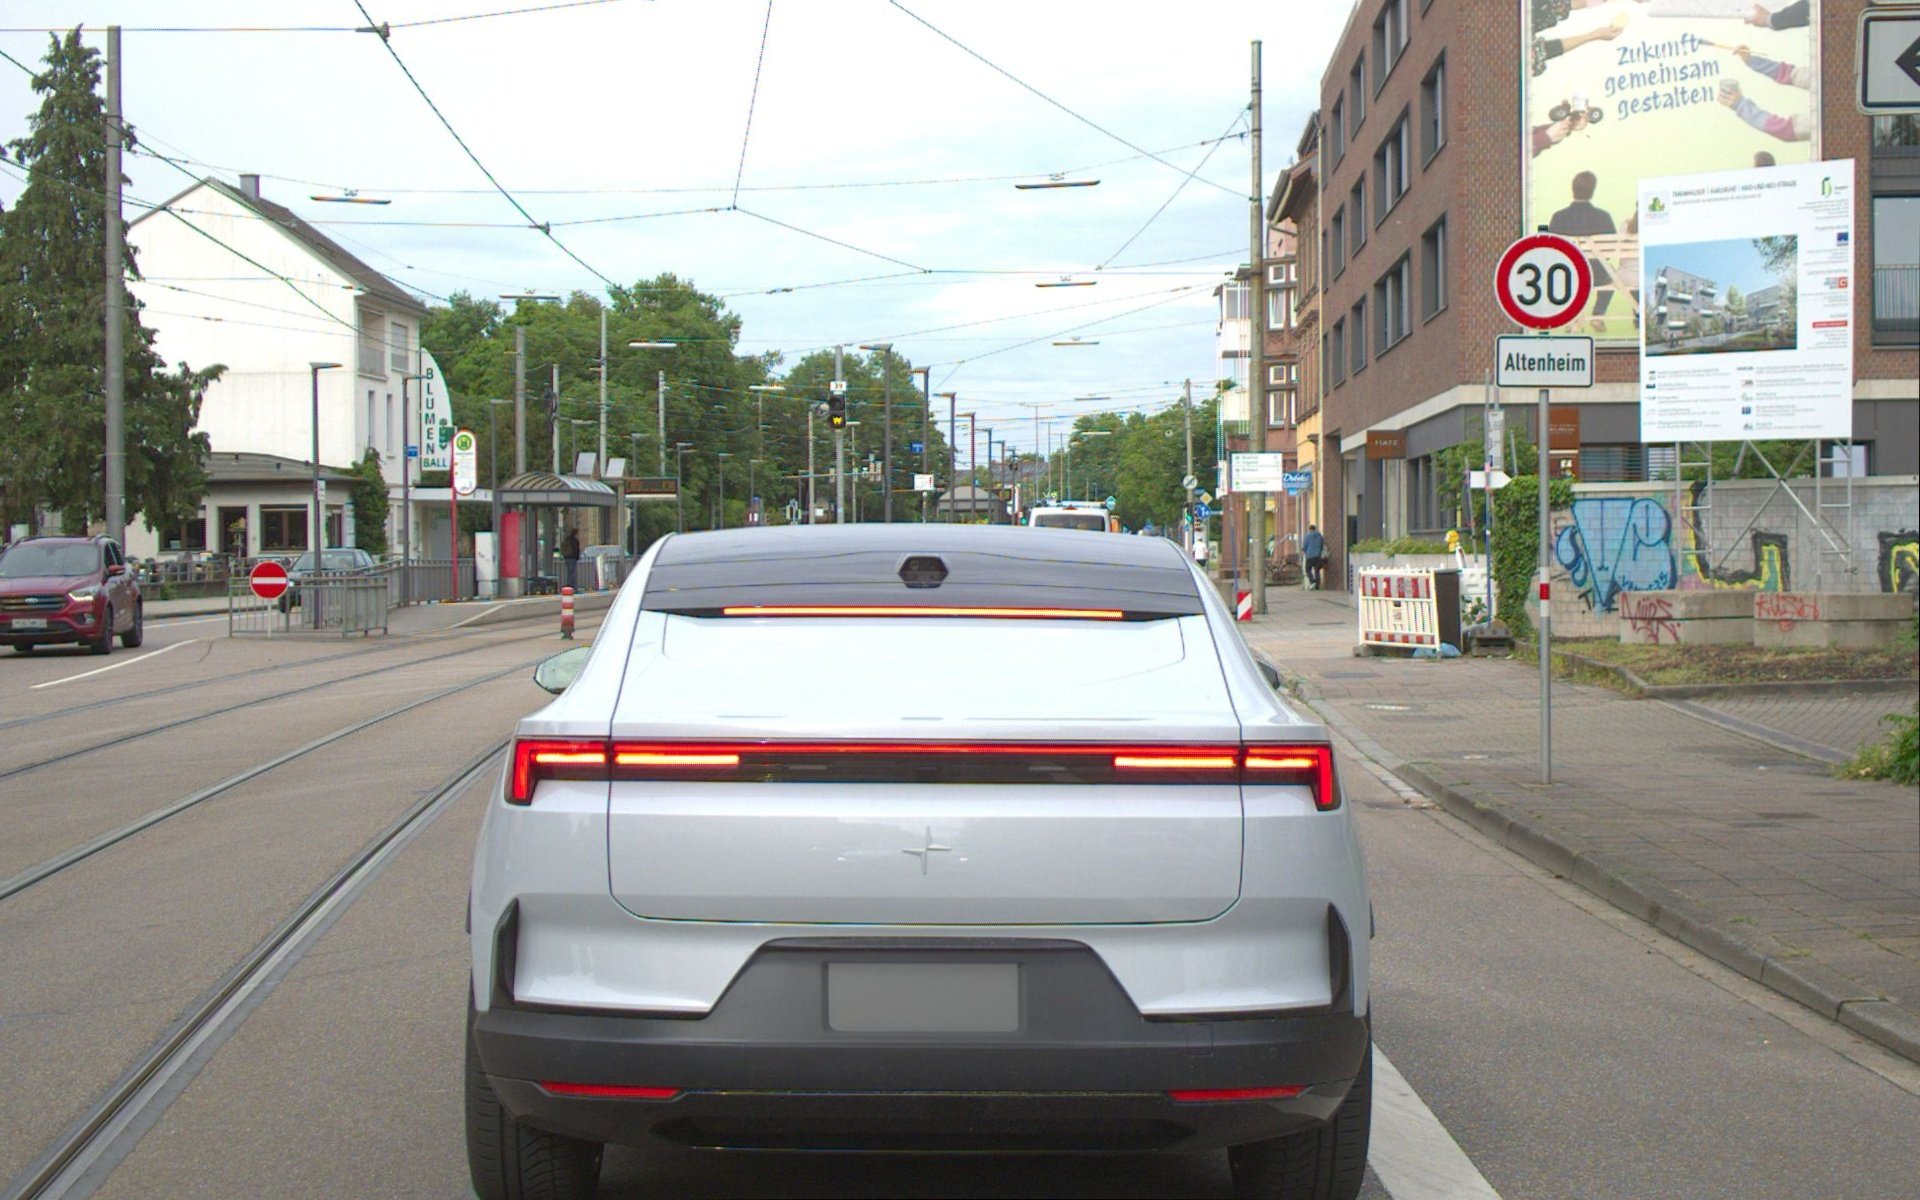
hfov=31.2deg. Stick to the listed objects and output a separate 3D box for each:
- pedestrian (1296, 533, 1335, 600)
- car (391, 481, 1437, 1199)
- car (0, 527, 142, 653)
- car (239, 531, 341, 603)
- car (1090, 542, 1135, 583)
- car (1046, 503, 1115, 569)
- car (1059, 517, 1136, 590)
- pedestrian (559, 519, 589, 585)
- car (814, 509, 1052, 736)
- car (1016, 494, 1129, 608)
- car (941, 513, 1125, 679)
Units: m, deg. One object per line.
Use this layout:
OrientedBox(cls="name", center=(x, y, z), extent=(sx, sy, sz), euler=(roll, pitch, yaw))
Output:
OrientedBox(cls="pedestrian", center=(10.057, -0.958, 97.185), extent=(0.961, 1.843, 0.975), euler=(-2, 2, 9))
OrientedBox(cls="car", center=(-0.147, 0.554, 8.632), extent=(1.999, 1.575, 4.000), euler=(1, 0, -2))
OrientedBox(cls="car", center=(-12.863, -0.163, 49.129), extent=(1.842, 1.718, 4.409), euler=(0, 1, -8))
OrientedBox(cls="car", center=(-15.111, -0.748, 77.679), extent=(1.790, 1.525, 4.142), euler=(-2, 1, -5))
OrientedBox(cls="car", center=(7.579, -1.866, 171.011), extent=(1.993, 2.007, 4.000), euler=(1, 1, -1))
OrientedBox(cls="car", center=(3.795, -2.011, 108.855), extent=(1.993, 2.007, 4.000), euler=(1, 1, 0))
OrientedBox(cls="car", center=(3.907, -1.327, 98.465), extent=(1.993, 2.007, 4.000), euler=(1, 1, 0))
OrientedBox(cls="pedestrian", center=(-9.823, -1.214, 87.411), extent=(0.615, 1.659, 0.697), euler=(1, 0, 5))
OrientedBox(cls="car", center=(-0.151, 0.148, 27.704), extent=(1.681, 1.682, 3.823), euler=(1, 1, 3))
OrientedBox(cls="car", center=(2.443, -1.074, 75.638), extent=(2.226, 2.394, 5.123), euler=(1, 1, -1))
OrientedBox(cls="car", center=(0.797, -0.081, 40.015), extent=(1.993, 1.809, 4.000), euler=(-1, 1, -1))
